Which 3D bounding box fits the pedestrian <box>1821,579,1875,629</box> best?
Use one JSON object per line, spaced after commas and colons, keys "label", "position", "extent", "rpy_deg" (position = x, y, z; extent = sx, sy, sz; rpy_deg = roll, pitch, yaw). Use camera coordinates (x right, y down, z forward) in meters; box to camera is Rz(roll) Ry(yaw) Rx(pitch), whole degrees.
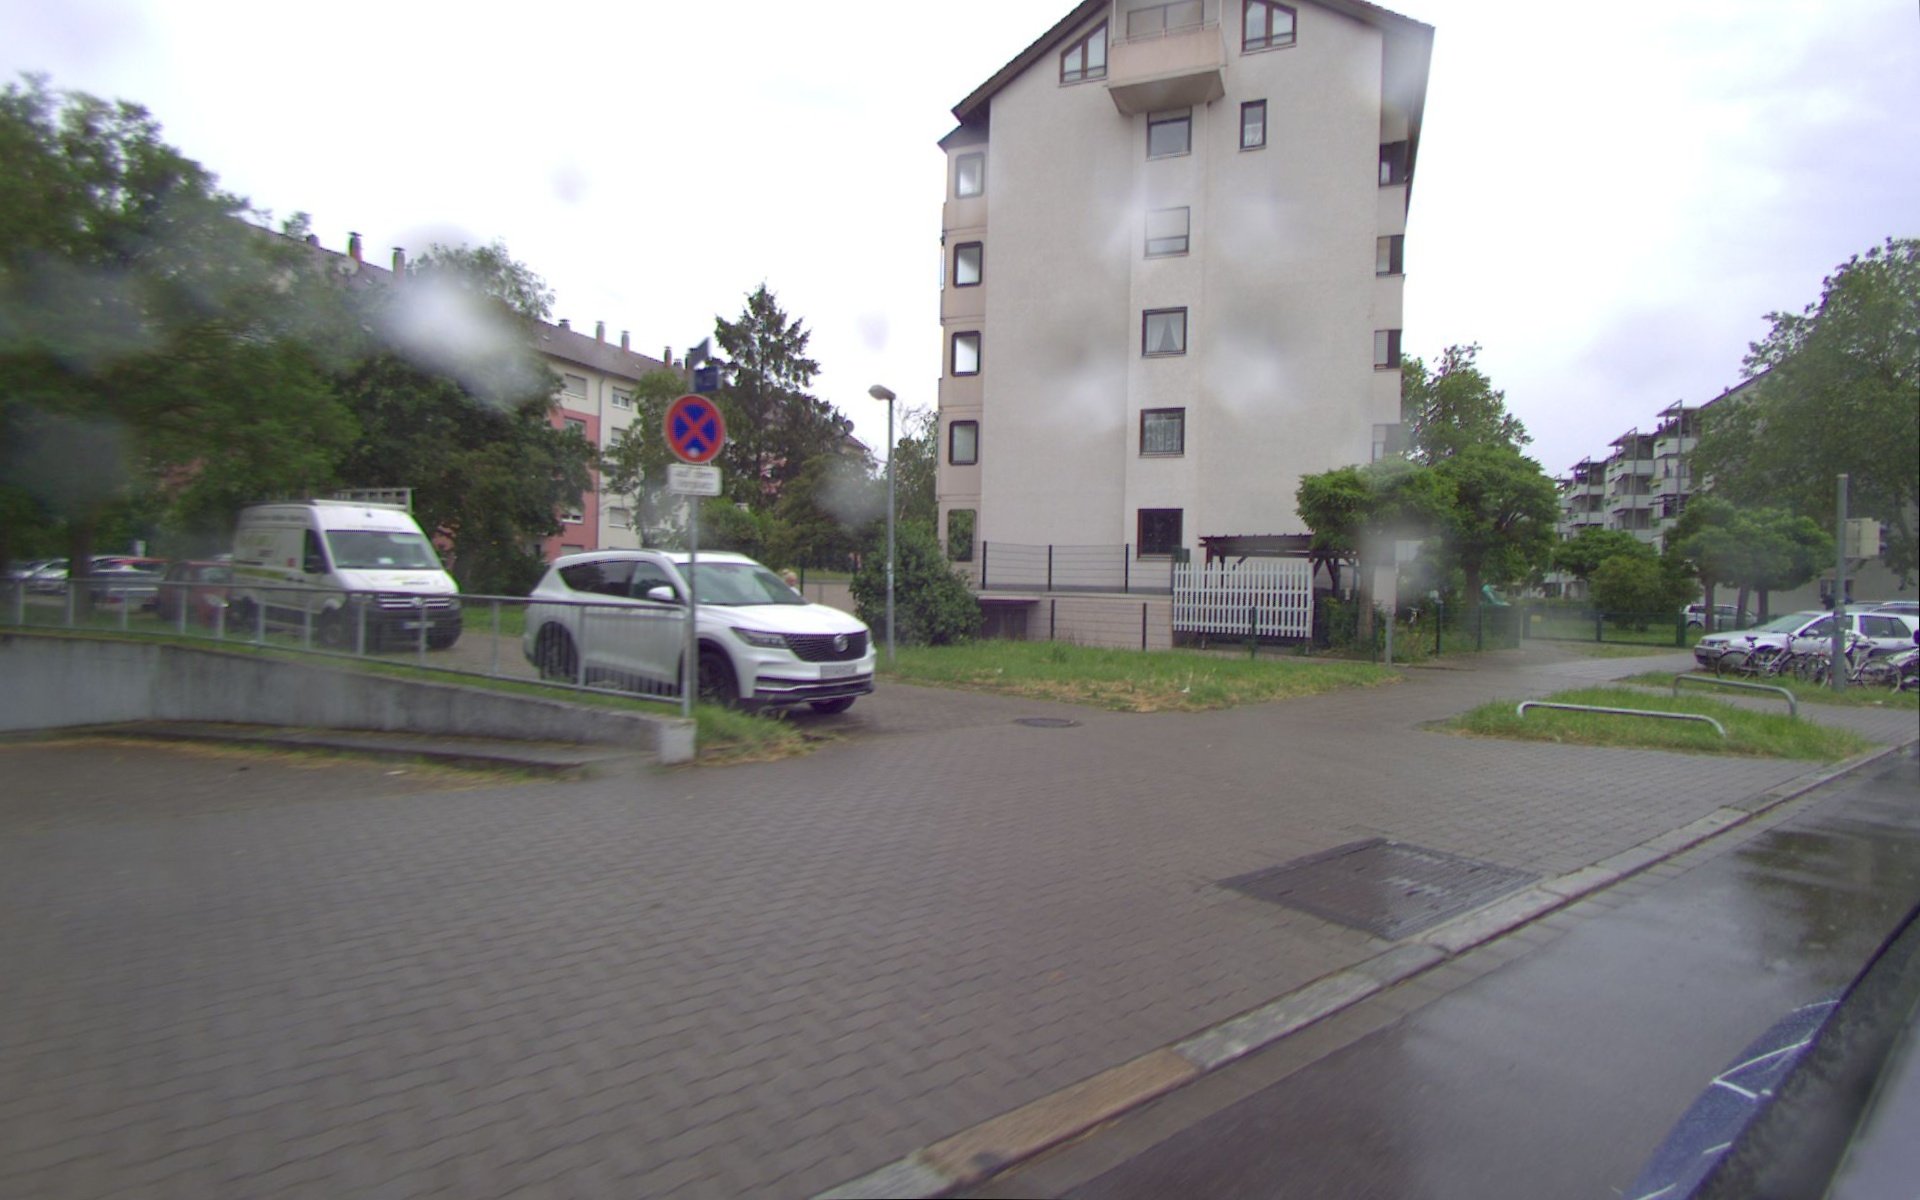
{"label": "pedestrian", "position": [33.431, 0.134, 38.114], "extent": [1.405, 1.836, 1.104], "rpy_deg": [1, 0, -29]}

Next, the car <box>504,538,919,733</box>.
{"label": "car", "position": [-2.935, 0.259, 11.407], "extent": [4.791, 1.767, 1.973], "rpy_deg": [2, 1, 37]}

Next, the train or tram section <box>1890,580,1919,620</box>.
{"label": "train or tram section", "position": [82.925, 0.064, 85.697], "extent": [2.709, 3.381, 6.393], "rpy_deg": [2, 1, 5]}

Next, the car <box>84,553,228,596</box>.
{"label": "car", "position": [-31.041, -0.947, 39.180], "extent": [1.984, 1.473, 3.956], "rpy_deg": [-1, -1, 31]}

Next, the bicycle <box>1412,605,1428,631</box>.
{"label": "bicycle", "position": [16.382, 0.638, 36.057], "extent": [0.486, 0.858, 1.559], "rpy_deg": [2, 1, 25]}

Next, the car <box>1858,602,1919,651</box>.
{"label": "car", "position": [33.922, 0.959, 34.912], "extent": [3.943, 1.526, 1.777], "rpy_deg": [2, 3, 15]}

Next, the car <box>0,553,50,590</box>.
{"label": "car", "position": [-43.184, -1.285, 44.776], "extent": [1.962, 1.589, 3.956], "rpy_deg": [-1, -1, 31]}

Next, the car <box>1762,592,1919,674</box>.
{"label": "car", "position": [20.833, 0.730, 22.455], "extent": [4.293, 1.672, 1.847], "rpy_deg": [2, 1, 19]}

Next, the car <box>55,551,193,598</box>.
{"label": "car", "position": [-33.484, -0.979, 40.640], "extent": [1.708, 1.744, 3.956], "rpy_deg": [-1, -1, 31]}

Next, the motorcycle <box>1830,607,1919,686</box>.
{"label": "motorcycle", "position": [16.967, 0.843, 18.246], "extent": [1.754, 1.353, 0.686], "rpy_deg": [3, 1, 15]}

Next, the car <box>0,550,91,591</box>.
{"label": "car", "position": [-40.606, -1.253, 43.751], "extent": [1.864, 1.699, 4.215], "rpy_deg": [1, 0, 24]}

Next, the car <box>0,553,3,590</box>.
{"label": "car", "position": [-45.779, -1.320, 45.077], "extent": [1.864, 1.699, 4.215], "rpy_deg": [1, 0, 24]}

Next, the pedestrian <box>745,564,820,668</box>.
{"label": "pedestrian", "position": [-2.827, 0.238, 16.103], "extent": [0.837, 1.590, 0.802], "rpy_deg": [2, 1, 41]}

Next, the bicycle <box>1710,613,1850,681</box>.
{"label": "bicycle", "position": [15.041, 0.851, 18.609], "extent": [1.922, 1.116, 0.628], "rpy_deg": [2, 1, 6]}

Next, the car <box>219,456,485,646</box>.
{"label": "car", "position": [-11.367, -0.860, 18.703], "extent": [6.041, 3.001, 2.102], "rpy_deg": [2, 1, 37]}

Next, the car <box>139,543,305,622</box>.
{"label": "car", "position": [-16.098, -0.409, 21.997], "extent": [4.397, 1.545, 1.880], "rpy_deg": [2, 1, 40]}

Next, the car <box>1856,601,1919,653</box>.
{"label": "car", "position": [31.806, 0.917, 32.638], "extent": [3.938, 1.526, 1.700], "rpy_deg": [2, 3, 12]}

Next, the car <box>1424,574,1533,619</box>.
{"label": "car", "position": [34.821, -0.265, 68.126], "extent": [2.146, 2.813, 6.137], "rpy_deg": [1, 1, -37]}

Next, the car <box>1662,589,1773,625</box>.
{"label": "car", "position": [39.802, 0.324, 53.247], "extent": [1.837, 1.701, 4.306], "rpy_deg": [1, 2, -37]}

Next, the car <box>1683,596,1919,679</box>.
{"label": "car", "position": [17.502, 0.734, 20.637], "extent": [4.067, 1.440, 1.730], "rpy_deg": [3, 1, 15]}

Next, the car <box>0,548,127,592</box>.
{"label": "car", "position": [-38.180, -1.218, 42.768], "extent": [1.864, 1.699, 4.215], "rpy_deg": [1, 0, 24]}

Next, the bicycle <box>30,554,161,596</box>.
{"label": "bicycle", "position": [-35.554, -0.996, 41.727], "extent": [1.169, 1.652, 3.957], "rpy_deg": [1, 0, 30]}
